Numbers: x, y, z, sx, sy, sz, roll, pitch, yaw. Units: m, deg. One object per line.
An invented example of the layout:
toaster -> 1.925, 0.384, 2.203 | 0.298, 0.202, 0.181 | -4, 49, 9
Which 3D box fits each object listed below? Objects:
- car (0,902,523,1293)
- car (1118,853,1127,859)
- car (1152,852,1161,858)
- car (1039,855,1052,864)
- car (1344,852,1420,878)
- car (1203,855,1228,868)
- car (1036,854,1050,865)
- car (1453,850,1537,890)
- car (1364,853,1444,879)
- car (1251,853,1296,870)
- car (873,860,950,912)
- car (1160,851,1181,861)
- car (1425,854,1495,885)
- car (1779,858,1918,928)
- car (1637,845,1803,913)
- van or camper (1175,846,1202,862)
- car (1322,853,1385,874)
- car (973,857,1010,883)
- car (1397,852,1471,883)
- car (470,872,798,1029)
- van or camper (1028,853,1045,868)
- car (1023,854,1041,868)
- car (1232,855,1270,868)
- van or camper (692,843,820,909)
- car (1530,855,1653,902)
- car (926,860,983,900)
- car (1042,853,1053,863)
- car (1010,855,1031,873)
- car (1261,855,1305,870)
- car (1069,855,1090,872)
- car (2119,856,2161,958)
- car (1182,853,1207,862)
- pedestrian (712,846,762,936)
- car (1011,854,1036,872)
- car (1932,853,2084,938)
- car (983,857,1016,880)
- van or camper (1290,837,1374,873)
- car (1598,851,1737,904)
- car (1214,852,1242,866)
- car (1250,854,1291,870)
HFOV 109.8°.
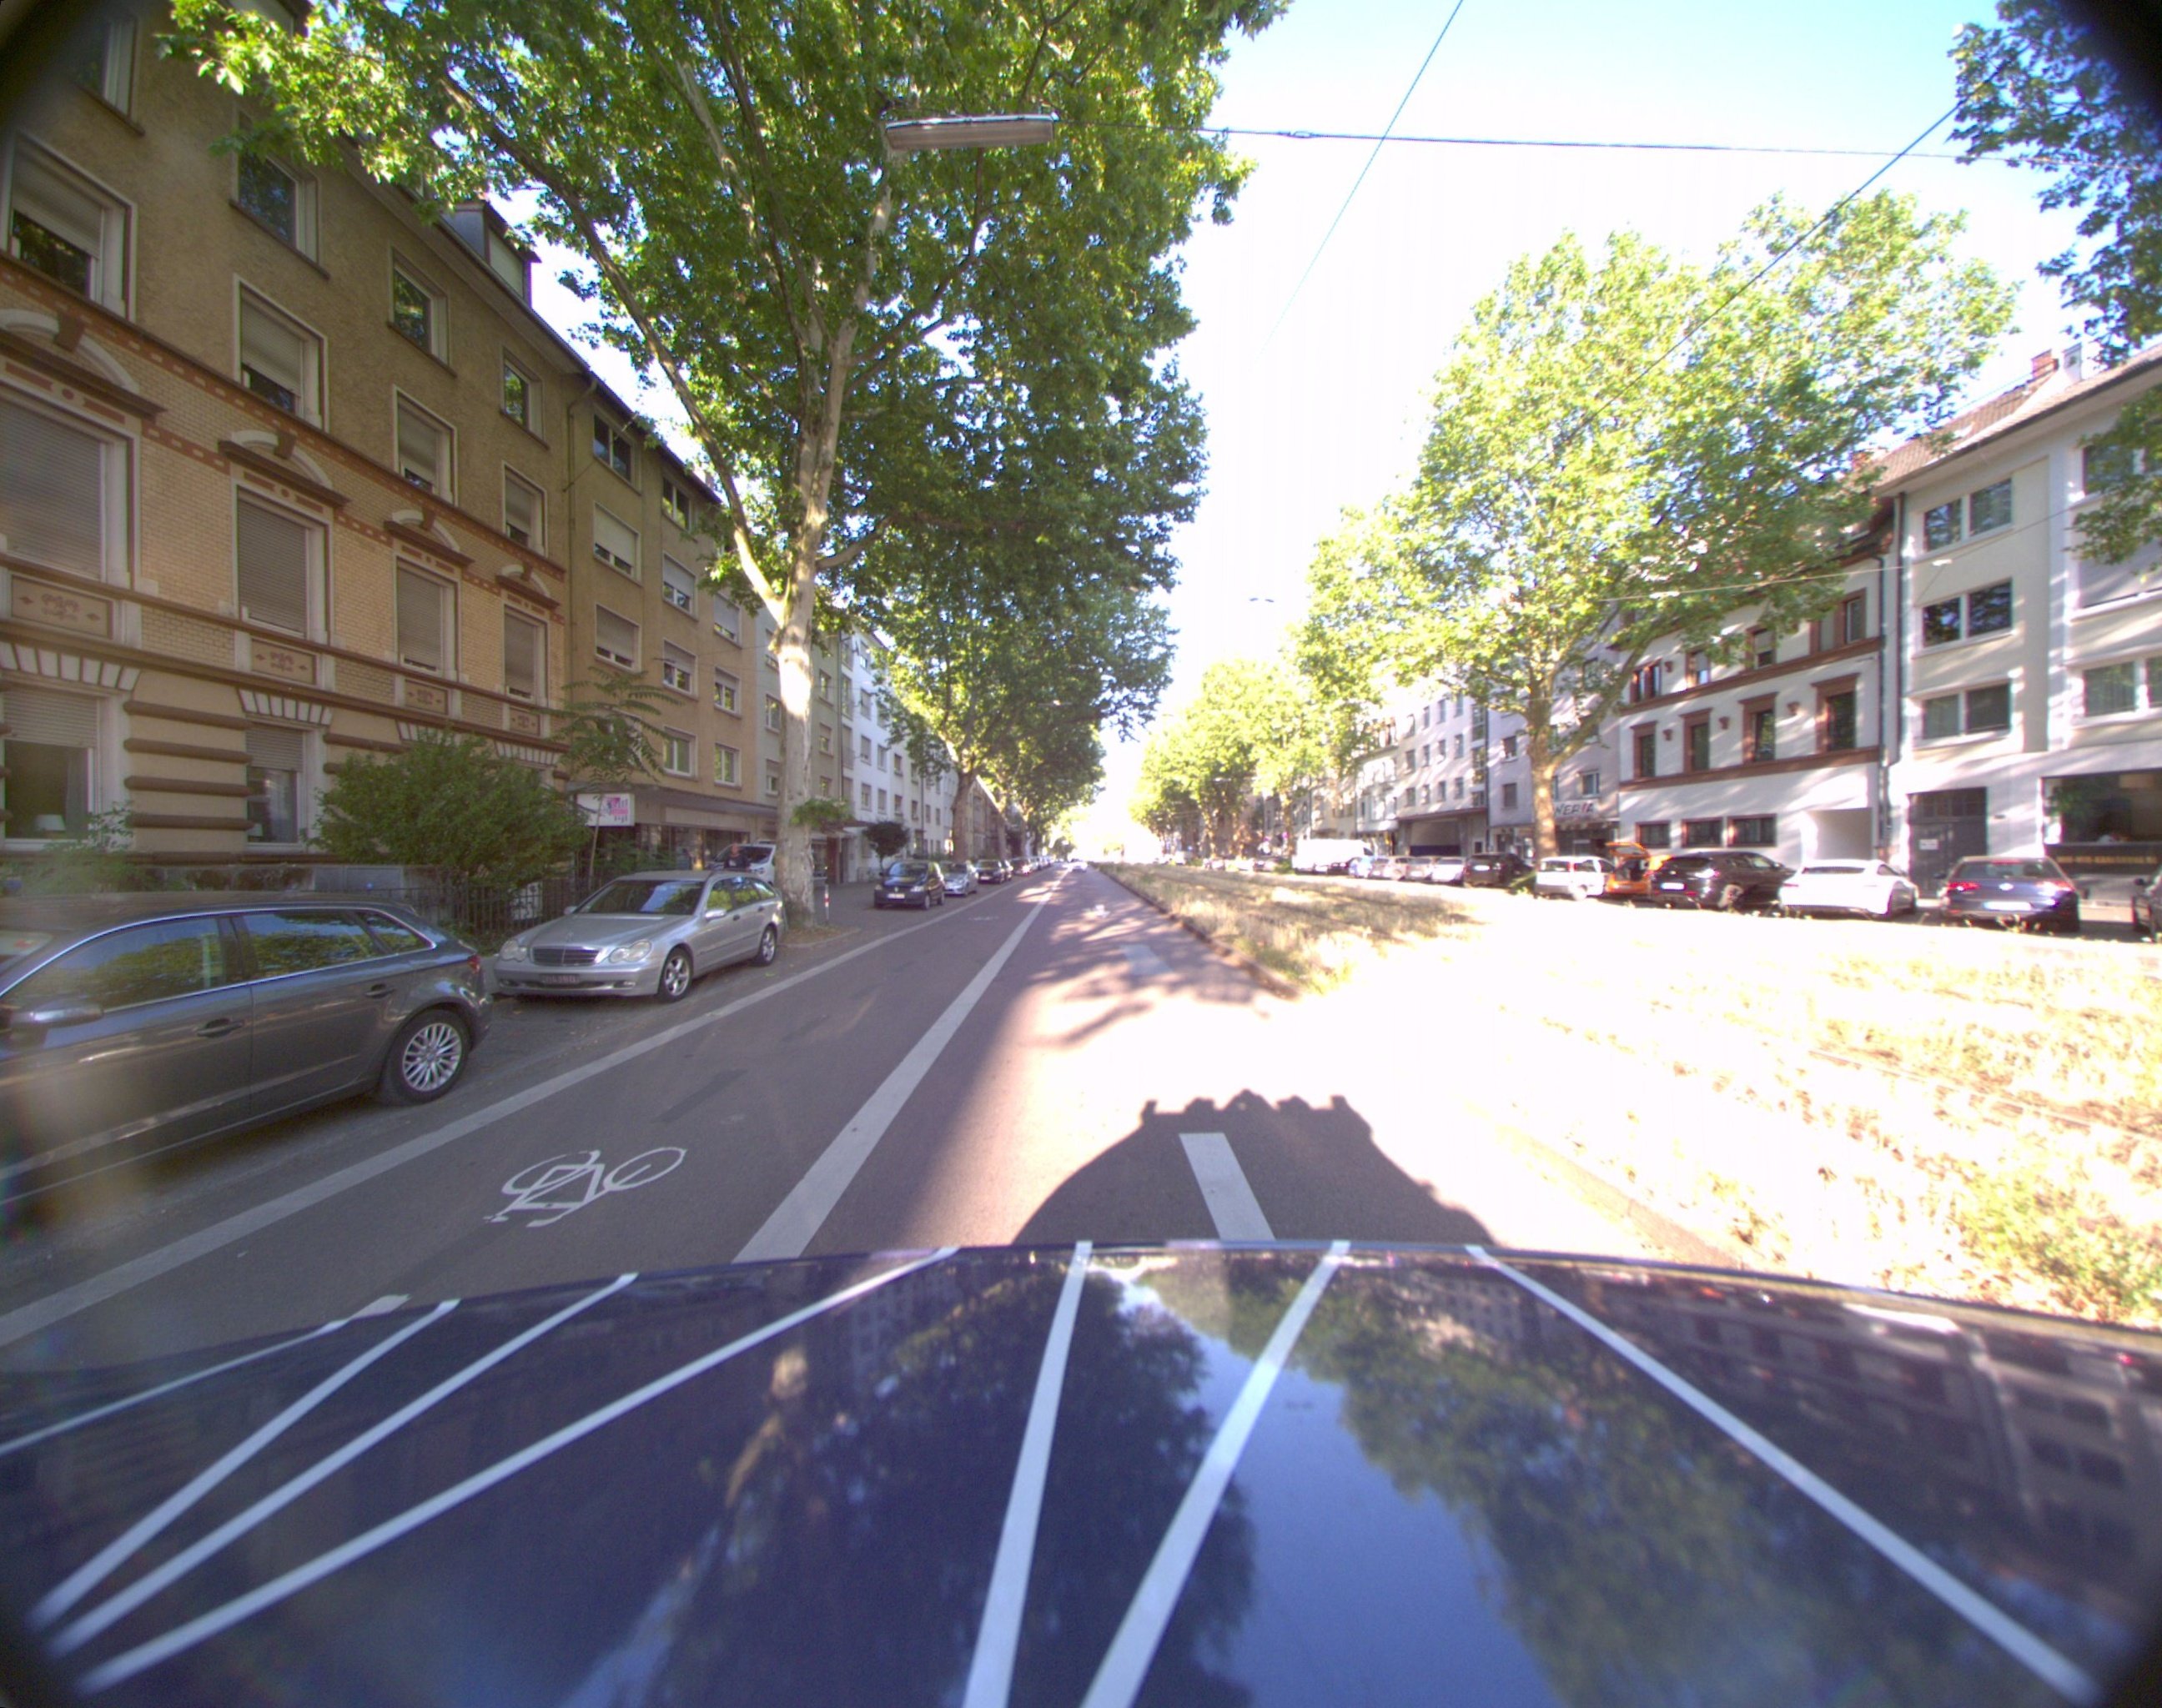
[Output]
car -> -5.180, 1.068, 3.667 | 1.714, 1.388, 4.321 | 0, 0, 1
car -> 11.203, 0.454, 205.304 | 1.997, 1.477, 4.002 | -2, 1, 8
car -> 20.182, 0.346, 202.886 | 1.998, 1.412, 4.000 | -2, 1, 2
car -> -5.614, 0.840, 119.807 | 1.790, 1.458, 3.569 | 1, 0, 0
car -> 18.965, 0.668, 47.985 | 3.998, 1.412, 1.857 | -3, 1, -4
car -> 15.038, 0.782, 85.128 | 1.825, 1.382, 4.483 | 2, 0, -1
car -> -5.489, 0.793, 109.734 | 1.790, 1.609, 3.829 | 1, 0, 0
car -> 18.686, 0.674, 34.242 | 4.008, 1.651, 1.995 | -1, 0, -41
car -> 19.172, 0.707, 45.090 | 4.002, 1.483, 1.948 | 0, 0, -13
car -> 18.643, 0.732, 73.557 | 4.169, 1.583, 1.932 | 2, -1, -36
car -> -5.426, 0.972, 24.727 | 1.658, 1.536, 3.999 | 0, 0, -1
car -> 18.311, 0.397, 154.817 | 4.007, 2.002, 1.995 | -3, 1, -42
car -> 18.920, 0.756, 37.888 | 4.008, 1.377, 1.907 | -2, 0, -45
car -> 18.652, 0.867, 18.412 | 4.212, 1.325, 1.718 | -3, 1, -36
car -> 18.298, 0.697, 21.761 | 4.370, 1.776, 1.989 | 1, 1, -26
van or camper -> 18.358, 0.040, 129.729 | 4.371, 2.386, 2.196 | -4, 2, -40
car -> 19.705, 0.698, 54.953 | 4.004, 1.482, 1.996 | 0, 0, -22
car -> -5.317, 0.924, 45.682 | 1.713, 1.407, 4.363 | 2, 0, 0
car -> 19.063, 0.712, 40.961 | 4.006, 1.414, 1.752 | -3, 1, -34
car -> -5.341, 1.025, 9.934 | 1.678, 1.443, 4.570 | 0, 0, -2
van or camper -> -5.414, 0.771, 92.710 | 1.790, 1.710, 4.379 | 1, 0, 1
car -> -5.548, 0.799, 86.412 | 1.702, 1.517, 4.194 | 0, 0, 0
car -> 18.207, 0.797, 81.441 | 3.687, 1.382, 1.822 | -1, 0, -31
van or camper -> -10.436, 0.644, 24.962 | 1.947, 1.911, 5.390 | 0, 0, -1
car -> 18.039, 0.823, 26.822 | 4.369, 1.440, 1.655 | -2, 1, -26
car -> -5.310, 1.058, 32.483 | 1.699, 1.533, 4.776 | 0, 0, -1
car -> -5.601, 0.651, 127.096 | 1.791, 1.585, 4.013 | 1, 0, -2
car -> -5.283, 0.865, 66.493 | 1.748, 1.455, 4.024 | 0, 0, -5
car -> 18.697, 0.828, 70.270 | 4.014, 1.349, 1.797 | 1, 0, -37
car -> -0.129, 0.938, 74.924 | 1.893, 1.501, 4.000 | -2, 1, 1
car -> 19.057, 0.825, 12.694 | 4.007, 1.433, 1.717 | -3, 1, -41
car -> 18.971, 0.604, 127.206 | 4.006, 1.240, 1.726 | -4, 1, -34
pedestrian -> -7.842, 0.819, 17.354 | 0.684, 2.002, 1.011 | 0, 1, -3
car -> -5.485, 0.816, 73.269 | 1.999, 1.557, 4.663 | 2, 1, 0
car -> 19.363, 0.784, 16.035 | 4.007, 1.433, 1.797 | -3, 1, -43
car -> -5.403, 0.932, 50.573 | 1.713, 1.407, 4.363 | 2, 0, 0
van or camper -> 18.981, 0.057, 57.462 | 5.974, 2.631, 2.175 | -1, 0, -20
car -> 19.499, 0.745, 25.272 | 4.003, 1.471, 1.774 | -3, 1, -20
car -> 18.829, 0.648, 97.416 | 1.726, 1.643, 4.009 | -1, -1, 40
car -> 19.217, 0.818, 76.937 | 4.008, 1.524, 1.821 | 1, -1, -36
